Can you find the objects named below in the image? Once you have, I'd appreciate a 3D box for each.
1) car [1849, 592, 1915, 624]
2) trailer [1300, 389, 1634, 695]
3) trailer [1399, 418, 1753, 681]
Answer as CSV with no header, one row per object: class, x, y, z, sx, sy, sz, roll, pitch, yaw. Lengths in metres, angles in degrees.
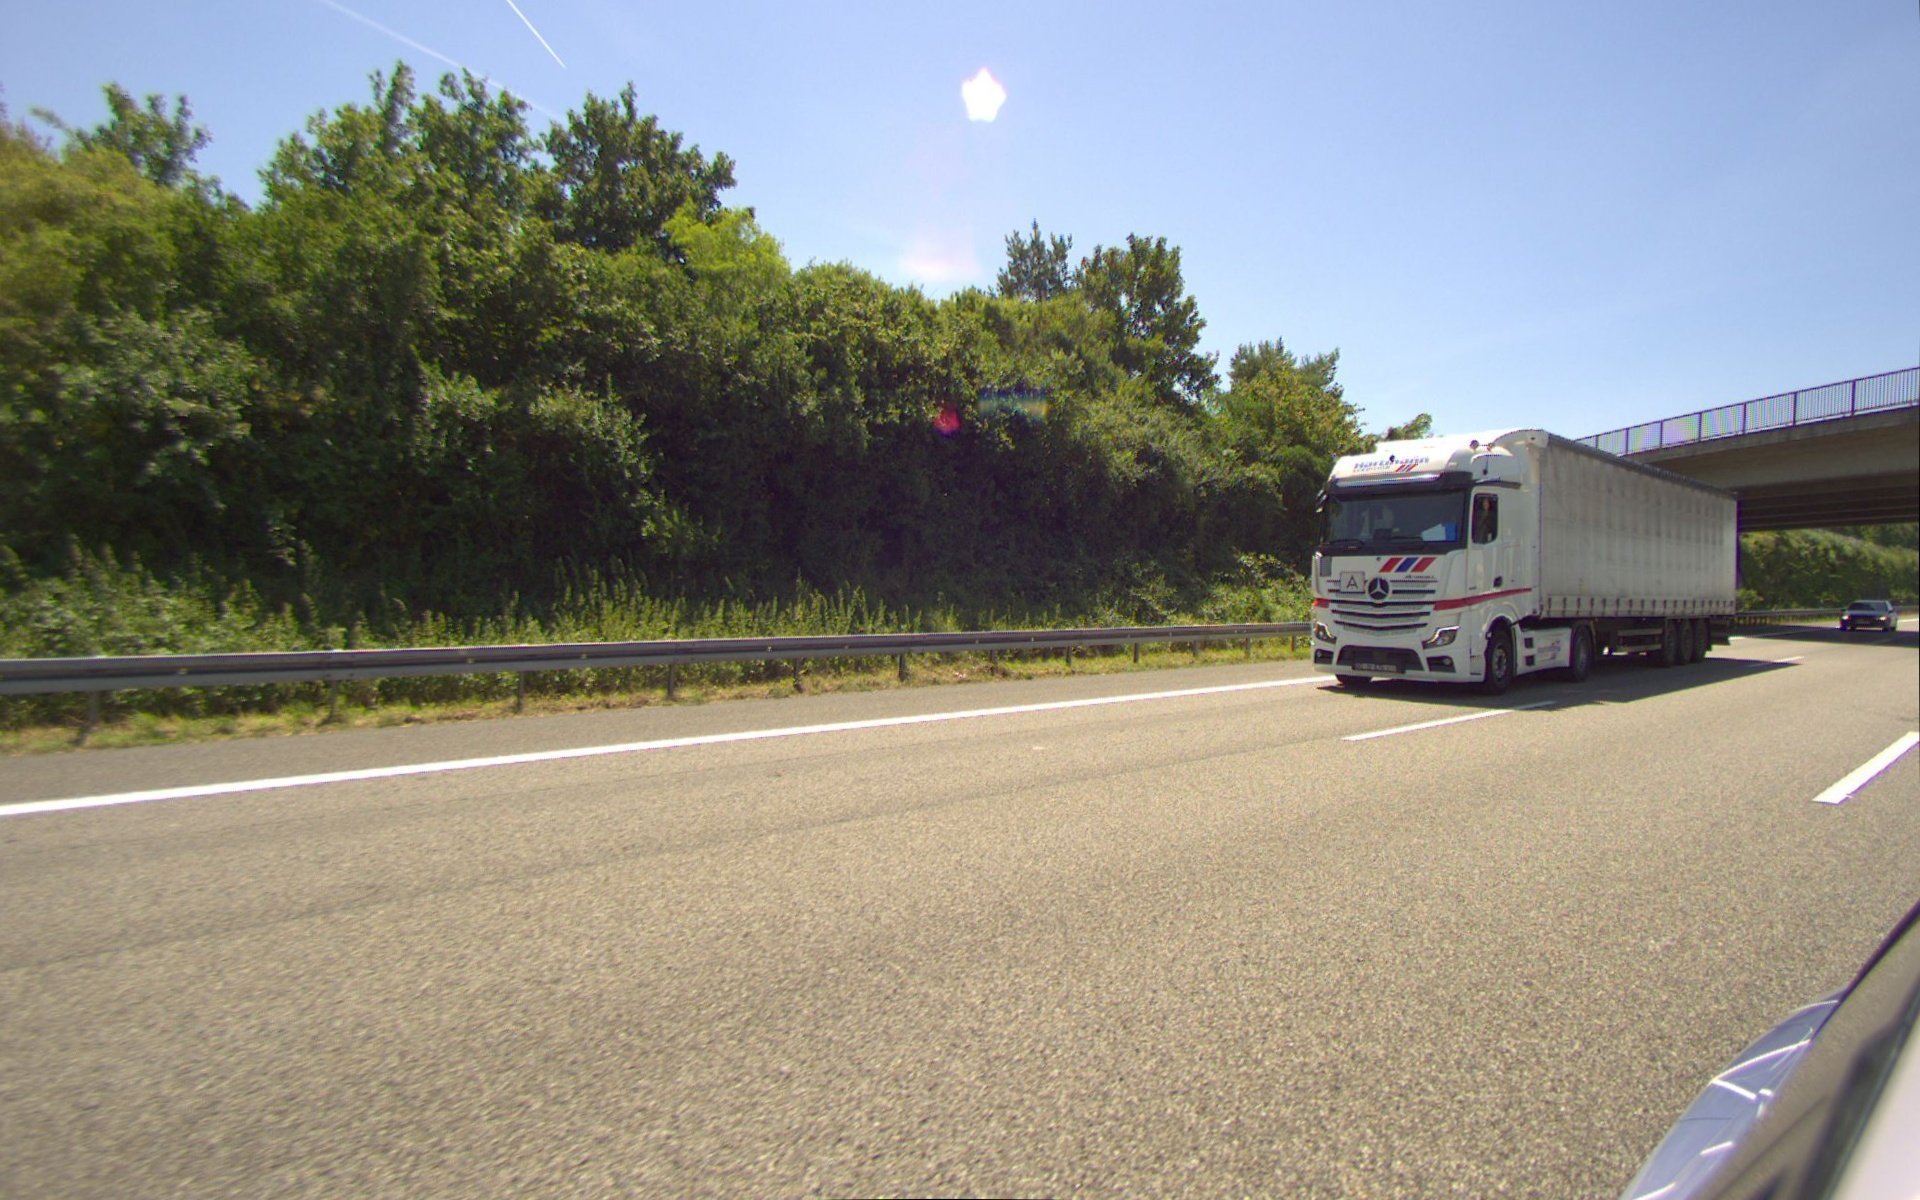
car,42.945,0.341,47.106,4.480,1.429,1.838,0,0,-42
trailer,8.718,-0.833,17.014,6.672,4.154,2.717,0,1,-42
trailer,13.582,-0.865,21.372,12.962,4.154,2.733,0,1,-42
